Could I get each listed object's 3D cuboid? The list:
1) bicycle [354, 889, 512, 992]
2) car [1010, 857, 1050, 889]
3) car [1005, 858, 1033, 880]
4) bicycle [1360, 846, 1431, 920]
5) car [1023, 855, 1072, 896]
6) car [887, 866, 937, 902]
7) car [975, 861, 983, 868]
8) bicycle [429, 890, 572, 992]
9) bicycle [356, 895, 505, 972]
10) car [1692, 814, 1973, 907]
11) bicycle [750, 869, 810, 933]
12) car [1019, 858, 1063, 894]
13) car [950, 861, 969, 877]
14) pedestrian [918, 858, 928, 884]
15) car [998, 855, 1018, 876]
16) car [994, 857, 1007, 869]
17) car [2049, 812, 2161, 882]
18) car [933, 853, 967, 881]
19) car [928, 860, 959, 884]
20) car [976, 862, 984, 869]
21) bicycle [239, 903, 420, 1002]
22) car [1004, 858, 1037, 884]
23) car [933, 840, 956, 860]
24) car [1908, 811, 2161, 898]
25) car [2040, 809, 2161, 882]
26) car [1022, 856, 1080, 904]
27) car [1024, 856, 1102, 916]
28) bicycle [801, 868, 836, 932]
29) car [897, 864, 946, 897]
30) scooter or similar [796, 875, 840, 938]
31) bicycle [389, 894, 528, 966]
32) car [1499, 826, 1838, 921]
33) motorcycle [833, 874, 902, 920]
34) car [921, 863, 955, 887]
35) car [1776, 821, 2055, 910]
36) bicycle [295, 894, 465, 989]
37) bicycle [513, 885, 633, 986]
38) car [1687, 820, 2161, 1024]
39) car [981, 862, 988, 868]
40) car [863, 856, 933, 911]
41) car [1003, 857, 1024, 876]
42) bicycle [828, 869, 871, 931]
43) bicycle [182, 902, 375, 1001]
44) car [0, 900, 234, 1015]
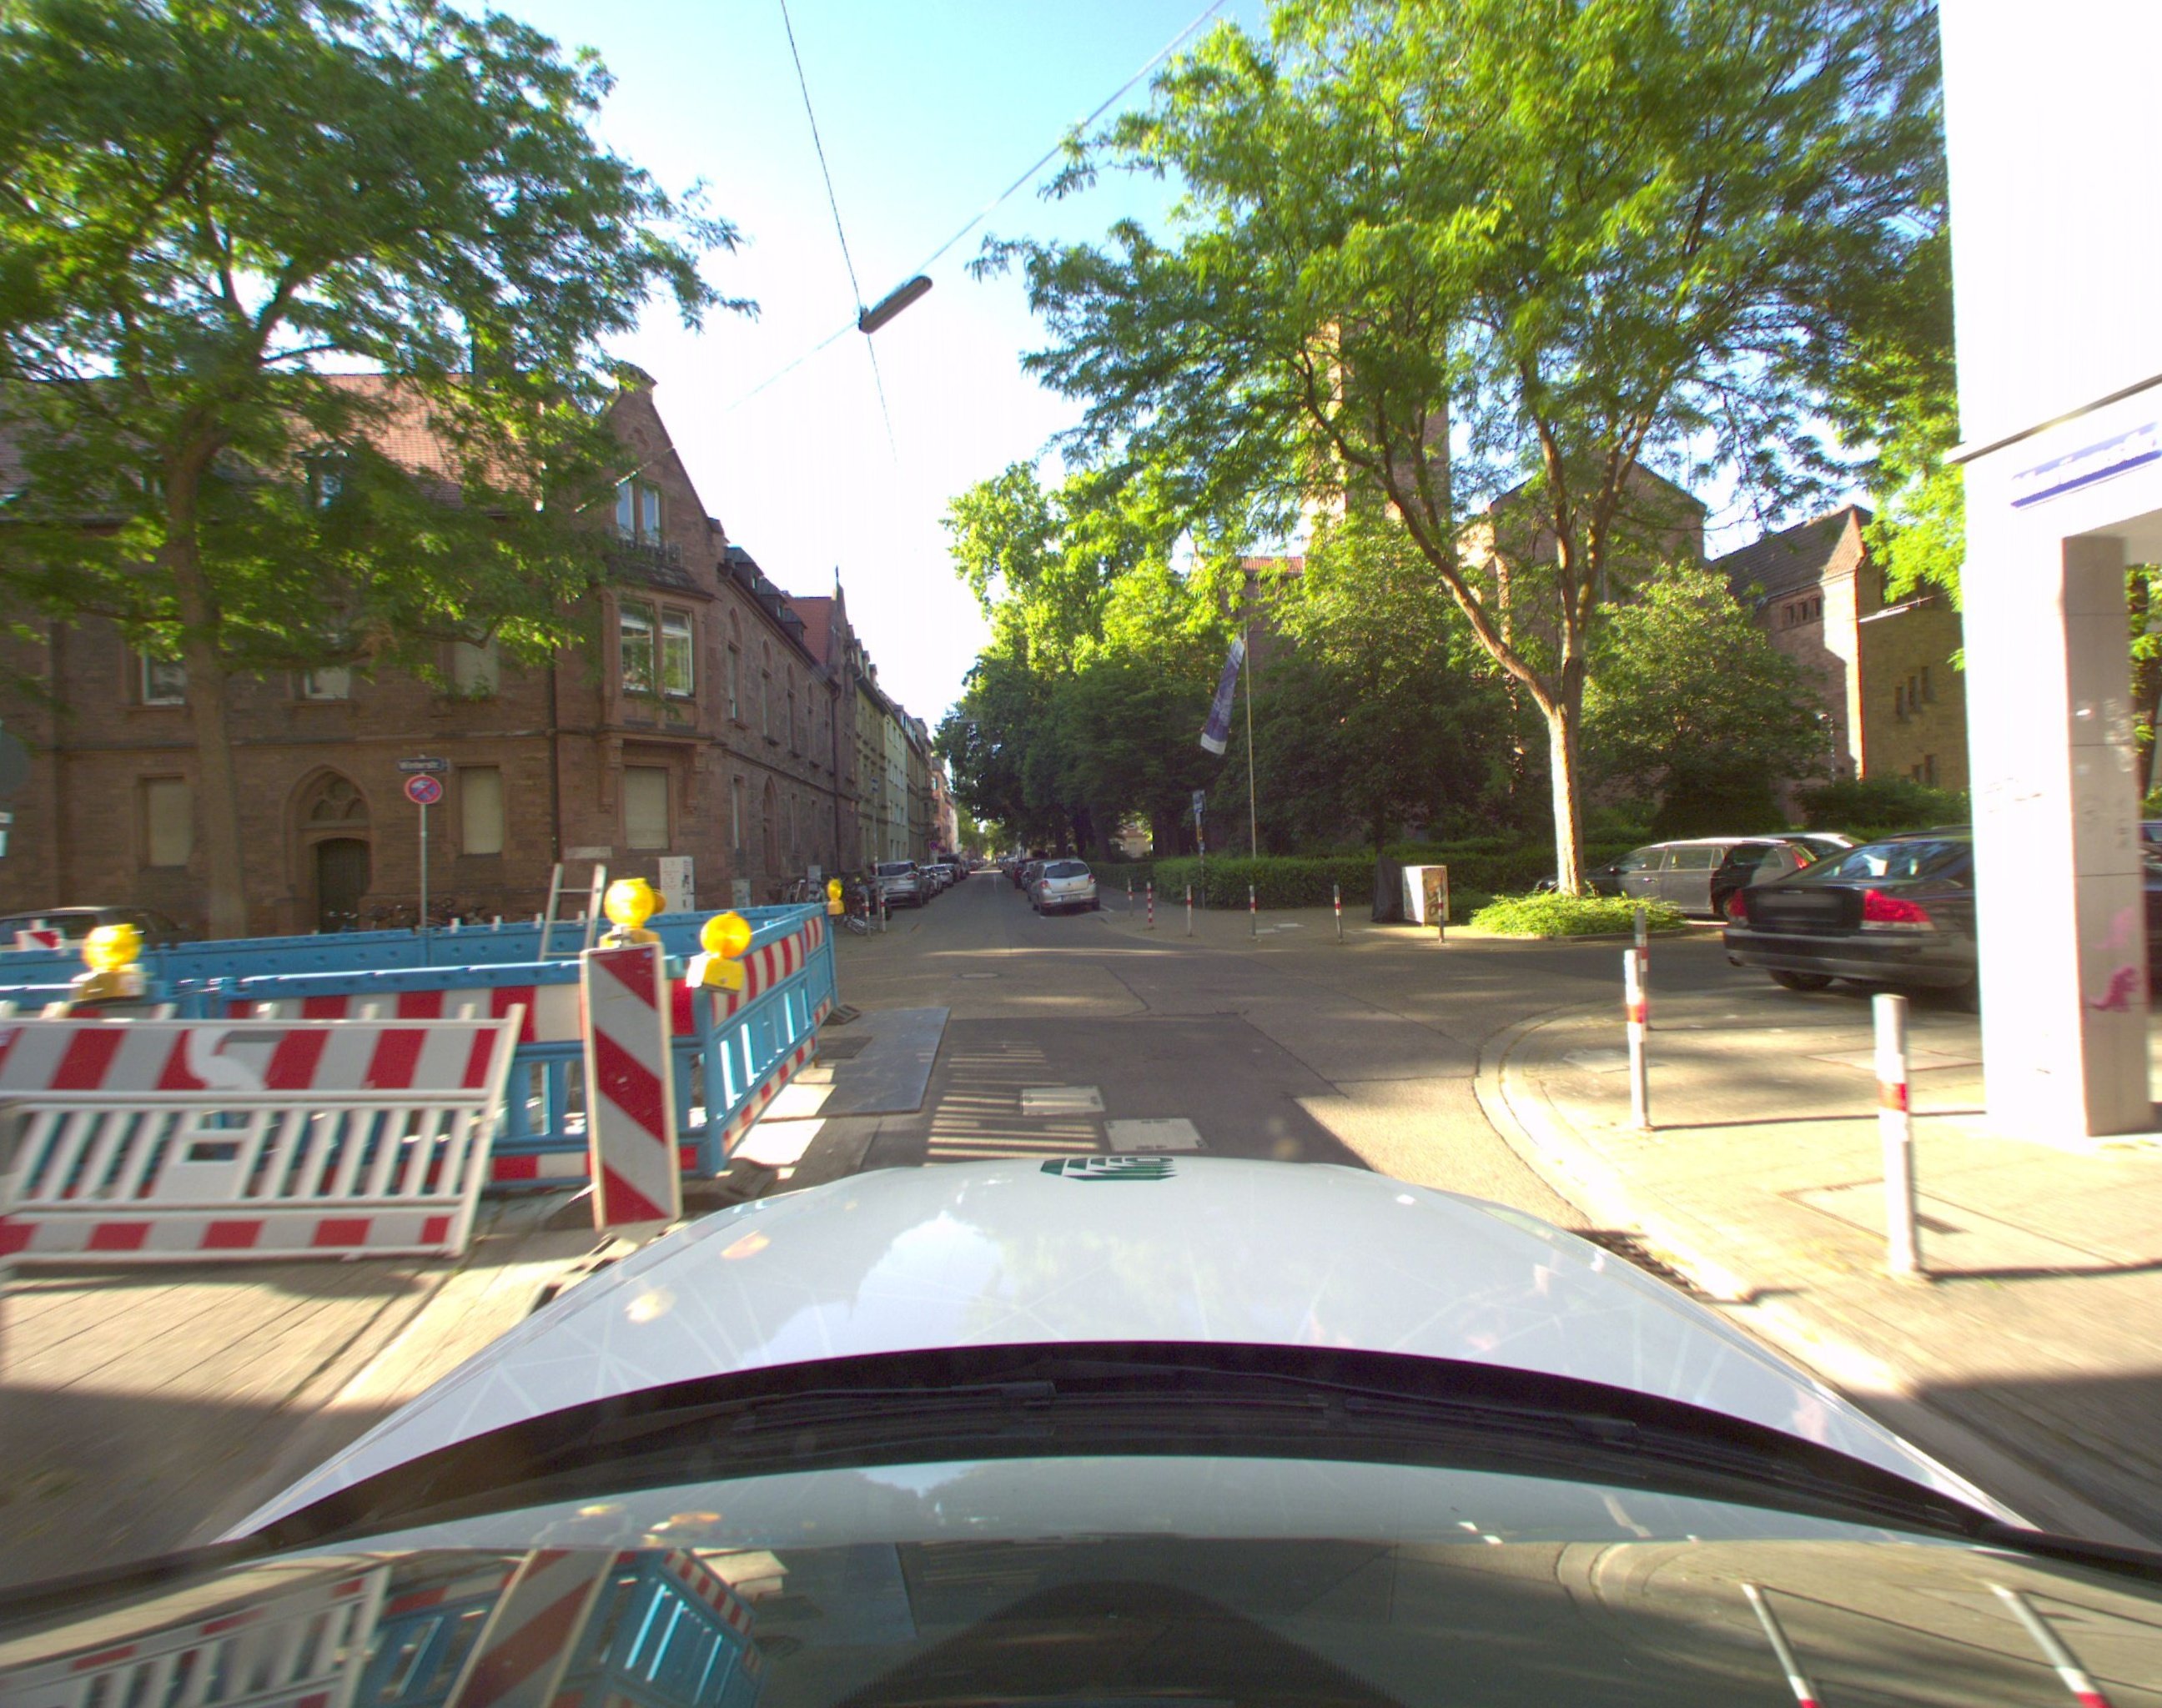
[{"bbox_3d":[-10.256,1.309,13.046,0.682,1.321,2.441,-3,1,-5],"label":"bicycle"},{"bbox_3d":[-2.873,1.019,44.966,1.893,1.625,3.990,-2,-1,-7],"label":"car"},{"bbox_3d":[-4.974,1.199,64.986,1.992,1.574,3.990,-3,-1,-7],"label":"car"},{"bbox_3d":[6.493,0.571,16.750,0.767,1.371,2.138,-3,0,36],"label":"bicycle"},{"bbox_3d":[-1.492,0.909,35.062,1.740,1.574,3.990,-3,-1,-7],"label":"car"},{"bbox_3d":[-7.339,1.281,35.745,1.723,1.393,3.990,-3,0,-7],"label":"car"},{"bbox_3d":[-25.596,2.709,204.426,1.991,1.647,3.990,-3,-1,-7],"label":"car"},{"bbox_3d":[-9.323,1.341,13.238,0.682,1.321,2.441,-3,1,-5],"label":"bicycle"},{"bbox_3d":[-11.629,1.407,14.615,1.960,1.180,0.684,-3,1,-6],"label":"bicycle"},{"bbox_3d":[14.914,0.141,16.412,1.724,1.618,3.738,-2,0,-25],"label":"car"},{"bbox_3d":[-7.369,1.106,20.081,0.682,1.423,2.791,-3,0,-6],"label":"bicycle"},{"bbox_3d":[-2.032,1.052,40.212,1.839,1.596,3.990,-2,0,-7],"label":"car"},{"bbox_3d":[-13.044,1.579,87.470,1.901,1.574,3.990,-3,-1,-7],"label":"car"},{"bbox_3d":[-12.539,1.335,64.529,0.685,2.014,0.688,-2,-1,-14],"label":"pedestrian"},{"bbox_3d":[-8.515,1.345,94.655,2.159,2.255,4.513,-3,-1,-7],"label":"car"},{"bbox_3d":[-13.027,1.430,131.967,1.992,1.728,3.991,-3,0,-7],"label":"car"},{"bbox_3d":[25.607,-0.196,18.875,1.724,1.618,3.738,-2,0,-25],"label":"car"},{"bbox_3d":[-10.700,1.042,67.016,2.306,2.114,5.160,-3,-1,-5],"label":"car"},{"bbox_3d":[-10.052,1.301,59.639,1.992,1.574,3.990,-3,-1,-7],"label":"car"},{"bbox_3d":[-26.454,2.929,213.405,1.991,1.647,3.990,-3,-1,-7],"label":"car"},{"bbox_3d":[-11.723,1.476,12.852,0.682,1.180,2.441,-3,1,-5],"label":"bicycle"},{"bbox_3d":[-4.103,1.141,54.740,1.992,1.574,3.990,-3,-1,-7],"label":"car"},{"bbox_3d":[-12.068,-0.416,72.160,1.791,1.573,3.991,-3,2,-7],"label":"car"},{"bbox_3d":[20.220,0.025,17.007,1.724,1.618,3.738,-2,0,-25],"label":"car"},{"bbox_3d":[23.310,-0.215,17.159,1.727,1.520,3.733,-2,0,-30],"label":"car"},{"bbox_3d":[-1.148,0.897,29.433,1.721,1.522,3.990,-3,-1,-7],"label":"car"},{"bbox_3d":[-0.609,0.861,23.938,1.723,1.522,3.987,-3,0,-9],"label":"car"},{"bbox_3d":[-6.332,1.065,19.559,0.575,1.423,2.484,-2,0,-22],"label":"bicycle"},{"bbox_3d":[-7.823,1.288,40.224,1.879,1.411,3.992,-4,0,-6],"label":"car"},{"bbox_3d":[-5.699,1.122,17.707,0.528,1.277,1.299,-3,0,-3],"label":"scooter or similar"},{"bbox_3d":[-11.711,1.411,15.365,1.959,1.180,0.684,-3,1,-6],"label":"bicycle"},{"bbox_3d":[11.207,0.394,15.941,1.813,1.552,5.042,-2,-1,-39],"label":"car"},{"bbox_3d":[-6.030,1.219,22.921,2.281,1.207,0.670,-3,-1,42],"label":"motorcycle"},{"bbox_3d":[-8.736,1.250,49.849,1.770,1.353,3.990,-2,0,-7],"label":"car"},{"bbox_3d":[17.452,0.238,17.262,1.724,1.618,3.738,-2,0,-25],"label":"car"},{"bbox_3d":[-11.024,1.320,12.960,0.682,1.180,2.441,-3,1,-5],"label":"bicycle"},{"bbox_3d":[-8.068,1.243,13.067,0.682,1.321,2.139,-3,1,-5],"label":"bicycle"},{"bbox_3d":[8.127,0.469,7.225,4.345,1.388,1.845,-3,-1,-8],"label":"car"},{"bbox_3d":[-27.967,3.138,235.257,1.991,1.647,3.990,-3,-1,-7],"label":"car"},{"bbox_3d":[-6.496,1.023,29.323,1.879,1.707,3.992,-4,0,-6],"label":"car"},{"bbox_3d":[-6.431,1.175,77.147,1.828,1.703,3.990,-2,0,-7],"label":"car"},{"bbox_3d":[-5.595,1.064,19.606,0.685,1.345,2.484,-2,0,-22],"label":"bicycle"},{"bbox_3d":[-12.433,1.448,12.769,0.682,1.180,2.441,-3,1,-5],"label":"bicycle"},{"bbox_3d":[-16.396,1.617,13.708,1.866,1.484,4.229,-2,0,-31],"label":"car"}]
